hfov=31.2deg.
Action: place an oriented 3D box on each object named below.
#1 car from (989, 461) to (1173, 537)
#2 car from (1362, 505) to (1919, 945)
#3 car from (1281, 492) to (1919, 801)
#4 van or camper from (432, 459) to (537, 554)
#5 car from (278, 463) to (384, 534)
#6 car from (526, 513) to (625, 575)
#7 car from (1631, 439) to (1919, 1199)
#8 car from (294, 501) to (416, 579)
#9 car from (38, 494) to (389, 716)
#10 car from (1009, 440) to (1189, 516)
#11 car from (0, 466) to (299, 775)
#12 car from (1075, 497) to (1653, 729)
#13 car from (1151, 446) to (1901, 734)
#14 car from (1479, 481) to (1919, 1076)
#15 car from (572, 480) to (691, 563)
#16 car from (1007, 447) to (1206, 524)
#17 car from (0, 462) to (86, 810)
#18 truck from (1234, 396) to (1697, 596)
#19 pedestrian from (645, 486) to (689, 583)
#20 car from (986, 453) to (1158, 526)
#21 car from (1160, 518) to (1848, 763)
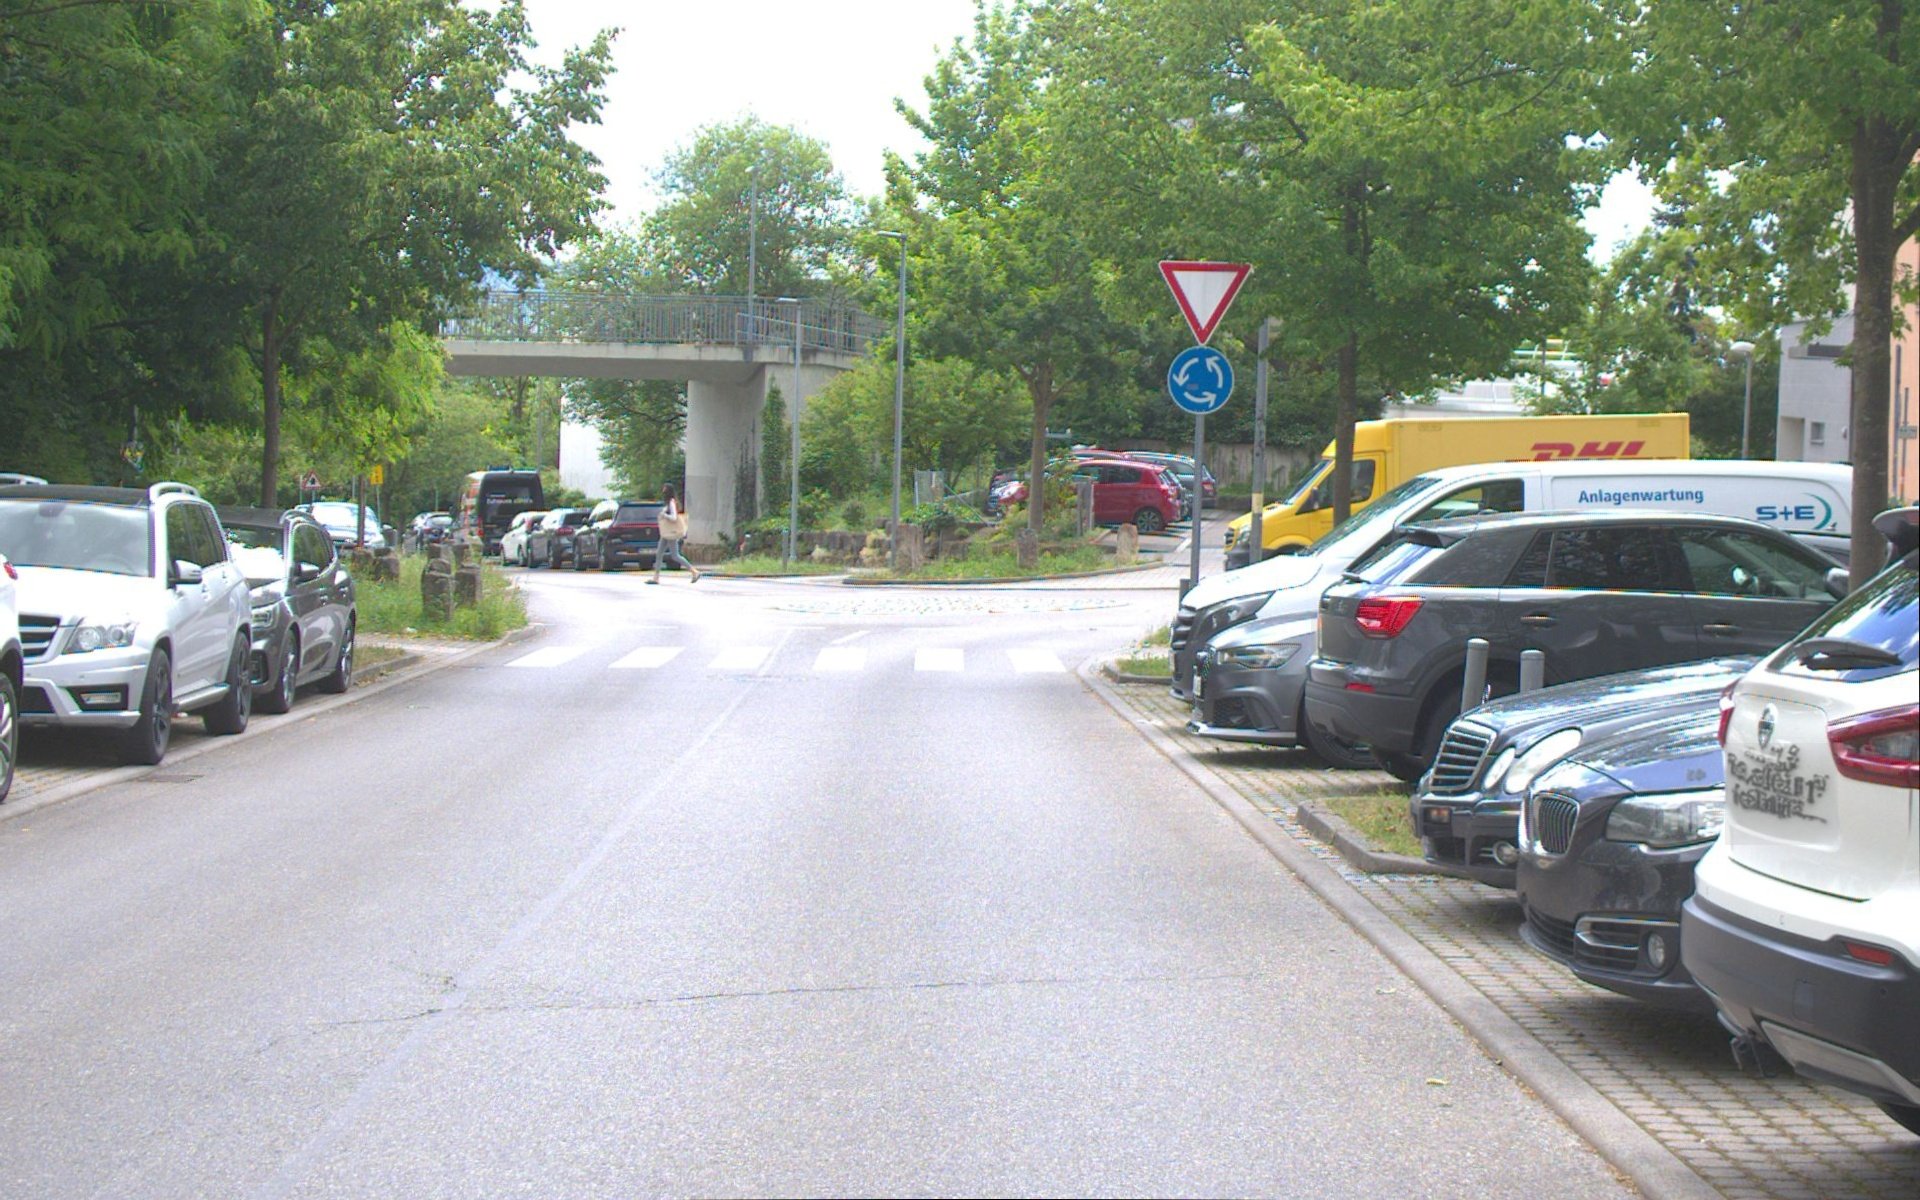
[{"bbox_3d":[2.502,-2.069,70.467,3.650,1.434,1.684,2,2,5],"label":"car"},{"bbox_3d":[3.951,0.409,12.777,4.574,1.487,1.952,0,1,-5],"label":"car"},{"bbox_3d":[3.748,0.204,18.338,3.824,1.514,1.912,-1,1,-2],"label":"car"},{"bbox_3d":[-13.400,-2.600,96.689,1.993,2.514,5.472,-2,1,-17],"label":"van or camper"},{"bbox_3d":[-13.684,-2.221,74.647,1.884,1.455,3.548,1,2,-16],"label":"car"},{"bbox_3d":[-9.639,-1.402,85.897,1.699,1.491,4.120,0,1,-17],"label":"car"},{"bbox_3d":[3.421,0.521,7.212,3.670,1.641,1.852,1,2,2],"label":"car"},{"bbox_3d":[-12.425,-1.251,70.422,1.785,1.463,4.002,1,2,-20],"label":"car"},{"bbox_3d":[-5.696,-0.032,26.755,1.689,1.460,4.457,4,2,0],"label":"car"},{"bbox_3d":[3.163,-2.768,77.988,3.987,1.608,1.944,2,2,3],"label":"car"},{"bbox_3d":[-5.481,0.030,21.382,1.799,1.610,4.479,4,2,0],"label":"car"},{"bbox_3d":[3.030,0.072,26.362,4.150,1.597,1.739,2,2,-1],"label":"car"},{"bbox_3d":[3.806,-0.095,23.624,4.773,1.825,1.843,-1,1,-3],"label":"car"},{"bbox_3d":[3.541,0.487,9.720,3.988,1.514,1.883,2,1,6],"label":"car"},{"bbox_3d":[-7.658,-1.798,79.823,1.813,1.673,4.371,0,-2,-18],"label":"car"},{"bbox_3d":[3.422,-2.669,80.423,4.544,1.662,1.944,2,2,3],"label":"car"},{"bbox_3d":[-5.478,0.157,15.602,1.807,1.659,4.437,4,2,0],"label":"car"},{"bbox_3d":[7.774,-1.658,53.591,6.802,2.692,2.475,2,6,3],"label":"truck"},{"bbox_3d":[-5.233,-1.177,61.450,0.658,1.716,0.739,2,2,2],"label":"pedestrian"},{"bbox_3d":[2.474,-2.443,75.686,3.650,1.493,1.684,2,2,5],"label":"car"},{"bbox_3d":[3.231,0.213,20.932,3.824,1.366,1.843,-1,1,-3],"label":"car"}]
